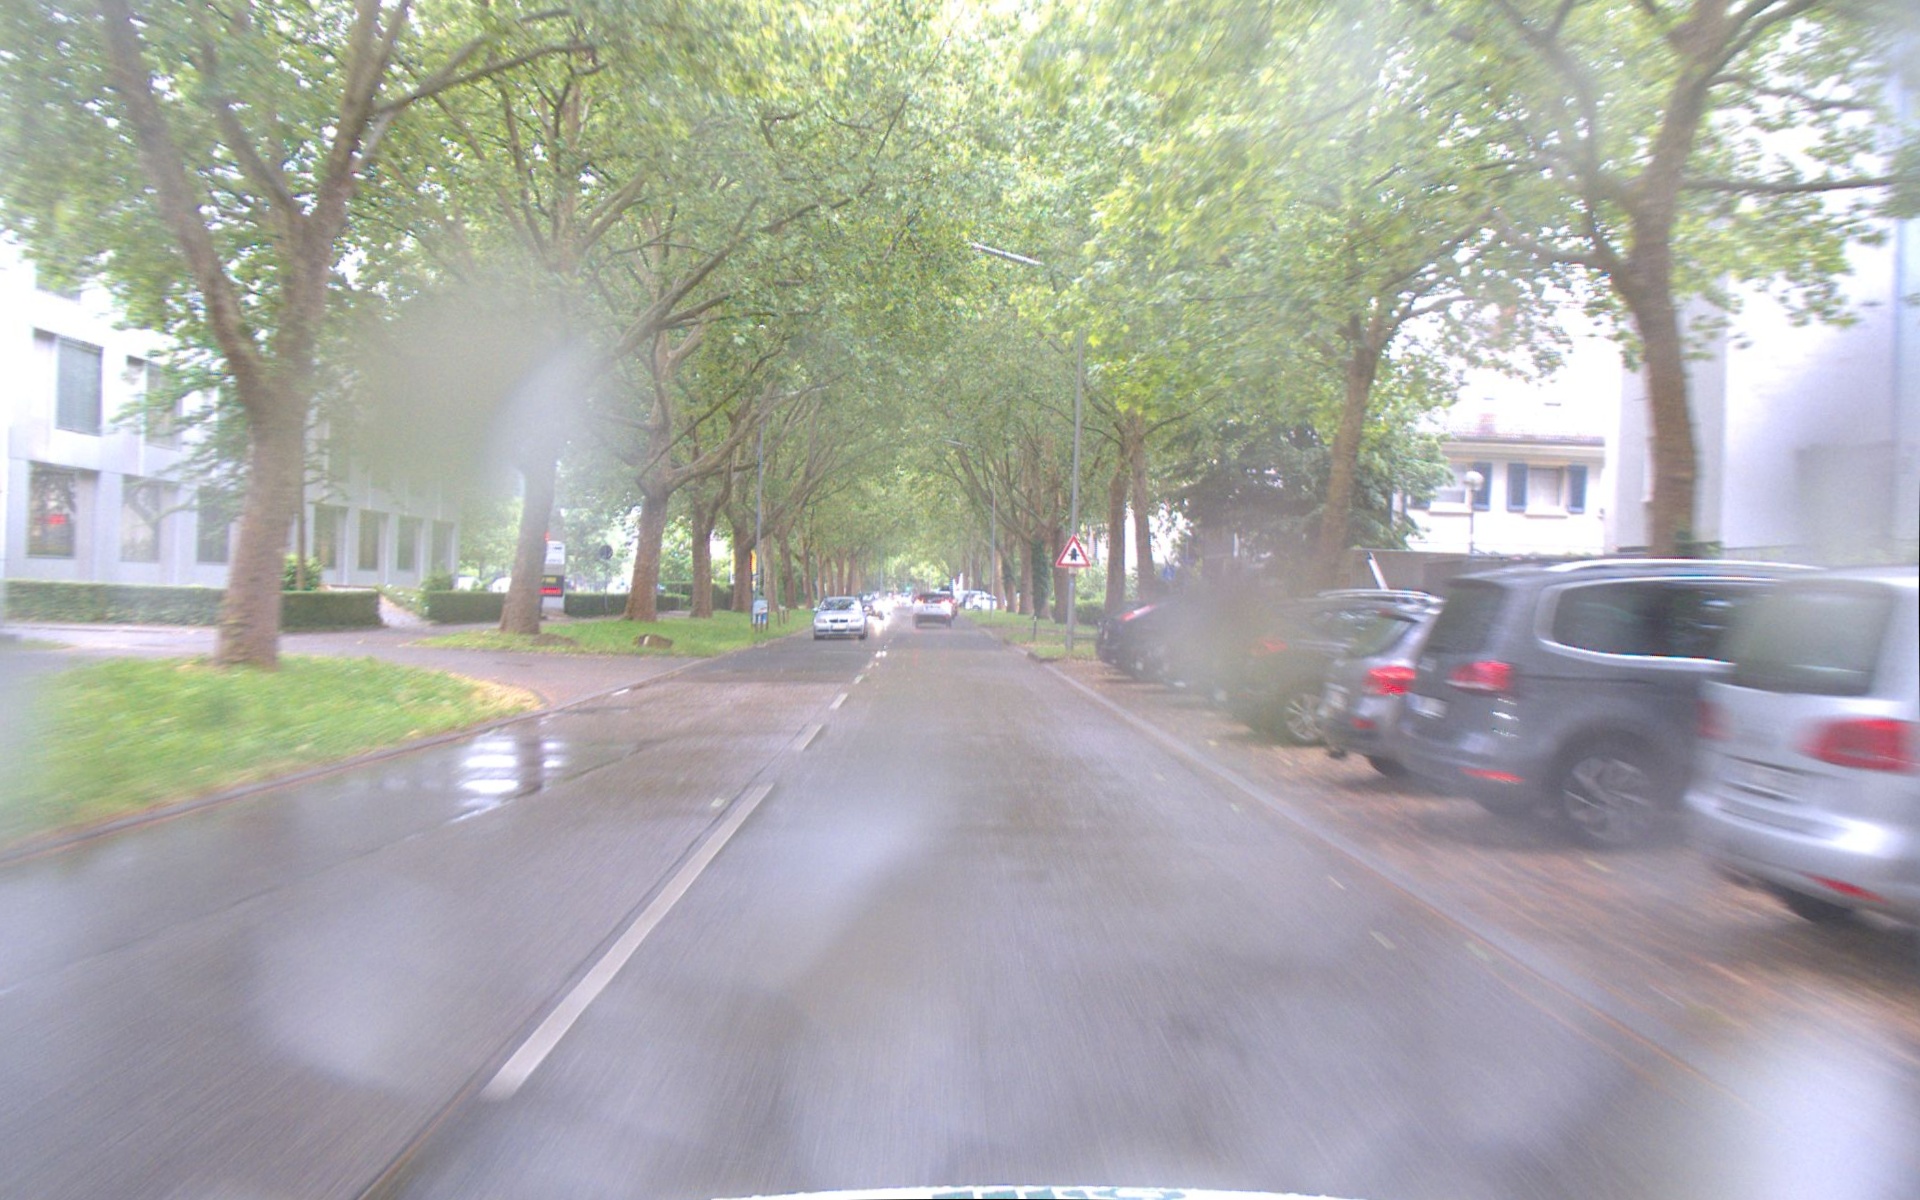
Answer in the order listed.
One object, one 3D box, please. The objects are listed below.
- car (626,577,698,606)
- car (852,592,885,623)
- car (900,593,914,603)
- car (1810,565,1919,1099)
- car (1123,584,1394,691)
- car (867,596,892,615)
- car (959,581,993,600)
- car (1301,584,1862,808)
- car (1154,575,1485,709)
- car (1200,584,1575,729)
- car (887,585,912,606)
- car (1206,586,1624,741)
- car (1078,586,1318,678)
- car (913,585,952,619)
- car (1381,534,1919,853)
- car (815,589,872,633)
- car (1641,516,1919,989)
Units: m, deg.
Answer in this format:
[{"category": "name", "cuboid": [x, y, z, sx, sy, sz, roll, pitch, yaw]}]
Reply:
[{"category": "car", "cuboid": [-17.632, -0.515, 97.965, 3.906, 1.651, 2.000, 1, 0, -1]}, {"category": "car", "cuboid": [-5.422, 0.430, 98.441, 1.773, 1.713, 4.447, -1, 1, -2]}, {"category": "car", "cuboid": [-6.903, -0.254, 215.180, 1.685, 1.276, 4.000, 2, 1, 0]}, {"category": "car", "cuboid": [4.755, 0.745, 4.533, 3.907, 1.539, 1.800, 2, 1, -3]}, {"category": "car", "cuboid": [4.727, 0.580, 26.531, 3.961, 1.557, 1.779, 1, 1, -4]}, {"category": "car", "cuboid": [-5.826, 0.388, 119.658, 1.671, 1.272, 3.644, -1, 1, -1]}, {"category": "car", "cuboid": [1.727, -1.004, 174.099, 3.476, 1.873, 1.711, -1, 1, -3]}, {"category": "car", "cuboid": [4.919, 0.728, 13.444, 3.906, 1.564, 1.631, 2, 1, -1]}, {"category": "car", "cuboid": [4.900, 0.541, 22.936, 4.125, 1.684, 1.913, 1, 1, -2]}, {"category": "car", "cuboid": [5.195, 0.669, 20.411, 4.126, 1.611, 1.746, 1, 1, -4]}, {"category": "car", "cuboid": [-4.234, -0.326, 116.501, 1.671, 1.436, 3.644, -1, 1, -1]}, {"category": "car", "cuboid": [4.757, 0.634, 17.608, 3.955, 1.466, 1.684, -1, 1, -4]}, {"category": "car", "cuboid": [4.195, 0.547, 29.656, 4.017, 1.540, 1.864, 1, 1, -1]}, {"category": "car", "cuboid": [-1.235, 0.089, 74.160, 1.671, 1.436, 3.644, -1, 1, -1]}, {"category": "car", "cuboid": [5.112, 0.572, 10.712, 4.249, 1.792, 1.818, 2, 1, -1]}, {"category": "car", "cuboid": [-3.960, 0.354, 56.817, 1.644, 1.413, 4.549, 0, 1, 0]}, {"category": "car", "cuboid": [5.265, 0.626, 7.088, 3.905, 1.757, 1.801, 2, 1, 0]}]
